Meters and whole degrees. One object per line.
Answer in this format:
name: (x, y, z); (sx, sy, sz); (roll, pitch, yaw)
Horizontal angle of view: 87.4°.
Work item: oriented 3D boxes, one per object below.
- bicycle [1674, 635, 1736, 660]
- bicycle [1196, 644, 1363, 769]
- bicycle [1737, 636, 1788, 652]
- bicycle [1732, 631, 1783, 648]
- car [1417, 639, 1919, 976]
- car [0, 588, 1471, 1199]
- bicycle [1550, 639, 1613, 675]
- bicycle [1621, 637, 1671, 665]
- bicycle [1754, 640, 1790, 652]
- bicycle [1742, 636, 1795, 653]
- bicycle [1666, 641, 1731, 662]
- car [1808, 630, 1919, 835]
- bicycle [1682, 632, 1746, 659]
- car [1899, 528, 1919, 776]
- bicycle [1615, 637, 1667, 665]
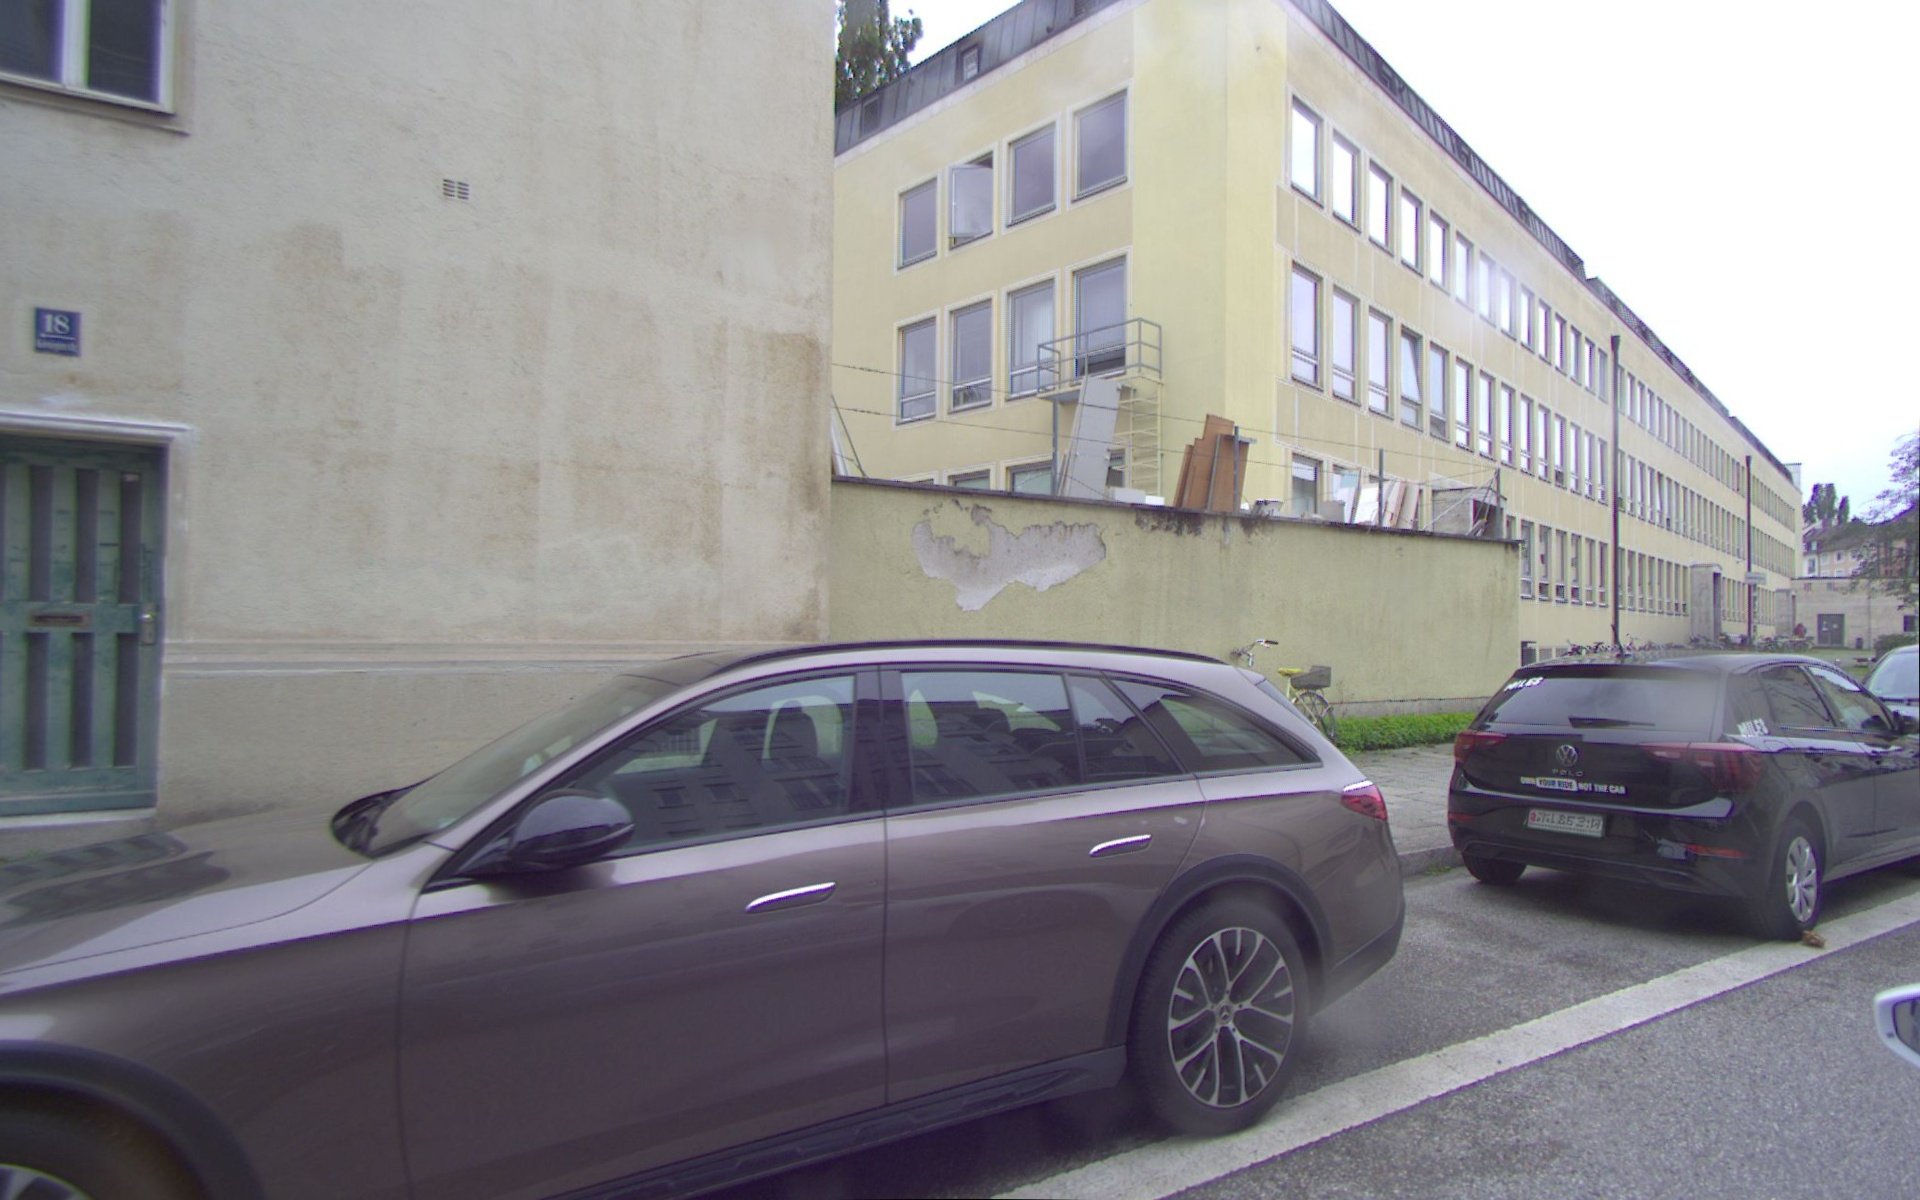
bicycle: (32.745, 2.066, 44.165); (2.180, 1.051, 0.492); (-1, -3, 42)
bicycle: (3.398, 1.081, 10.662); (1.755, 1.208, 0.674); (1, -1, -29)
bicycle: (42.723, 2.344, 53.507); (2.095, 0.846, 0.644); (-1, -3, 42)
bicycle: (44.247, 2.162, 55.715); (2.180, 0.907, 0.644); (-1, -3, 42)
car: (4.785, 1.024, 6.383); (3.783, 1.465, 1.691); (1, -1, -33)
car: (-0.608, 0.853, 3.234); (4.484, 1.558, 1.760); (2, -4, -28)
bicycle: (18.038, 1.639, 29.176); (1.511, 0.967, 0.364); (0, -1, 44)
bicycle: (25.529, 1.883, 37.385); (1.511, 0.967, 0.364); (0, -1, 44)
bicycle: (49.707, 2.804, 61.481); (1.718, 0.724, 0.611); (-1, -3, 42)
bicycle: (42.430, 2.342, 52.729); (2.180, 0.846, 0.492); (-1, -3, 42)
bicycle: (31.294, 2.161, 42.586); (2.180, 0.846, 0.492); (-1, -3, 42)
car: (8.812, 1.053, 8.541); (3.508, 1.558, 1.576); (2, -4, -35)
bicycle: (34.660, 2.080, 46.192); (2.223, 1.184, 1.041); (0, -1, 44)
car: (13.093, 0.572, 11.367); (5.311, 2.671, 2.079); (1, -1, -29)
bicycle: (24.517, 1.816, 36.152); (1.511, 0.967, 0.364); (0, -1, 44)
